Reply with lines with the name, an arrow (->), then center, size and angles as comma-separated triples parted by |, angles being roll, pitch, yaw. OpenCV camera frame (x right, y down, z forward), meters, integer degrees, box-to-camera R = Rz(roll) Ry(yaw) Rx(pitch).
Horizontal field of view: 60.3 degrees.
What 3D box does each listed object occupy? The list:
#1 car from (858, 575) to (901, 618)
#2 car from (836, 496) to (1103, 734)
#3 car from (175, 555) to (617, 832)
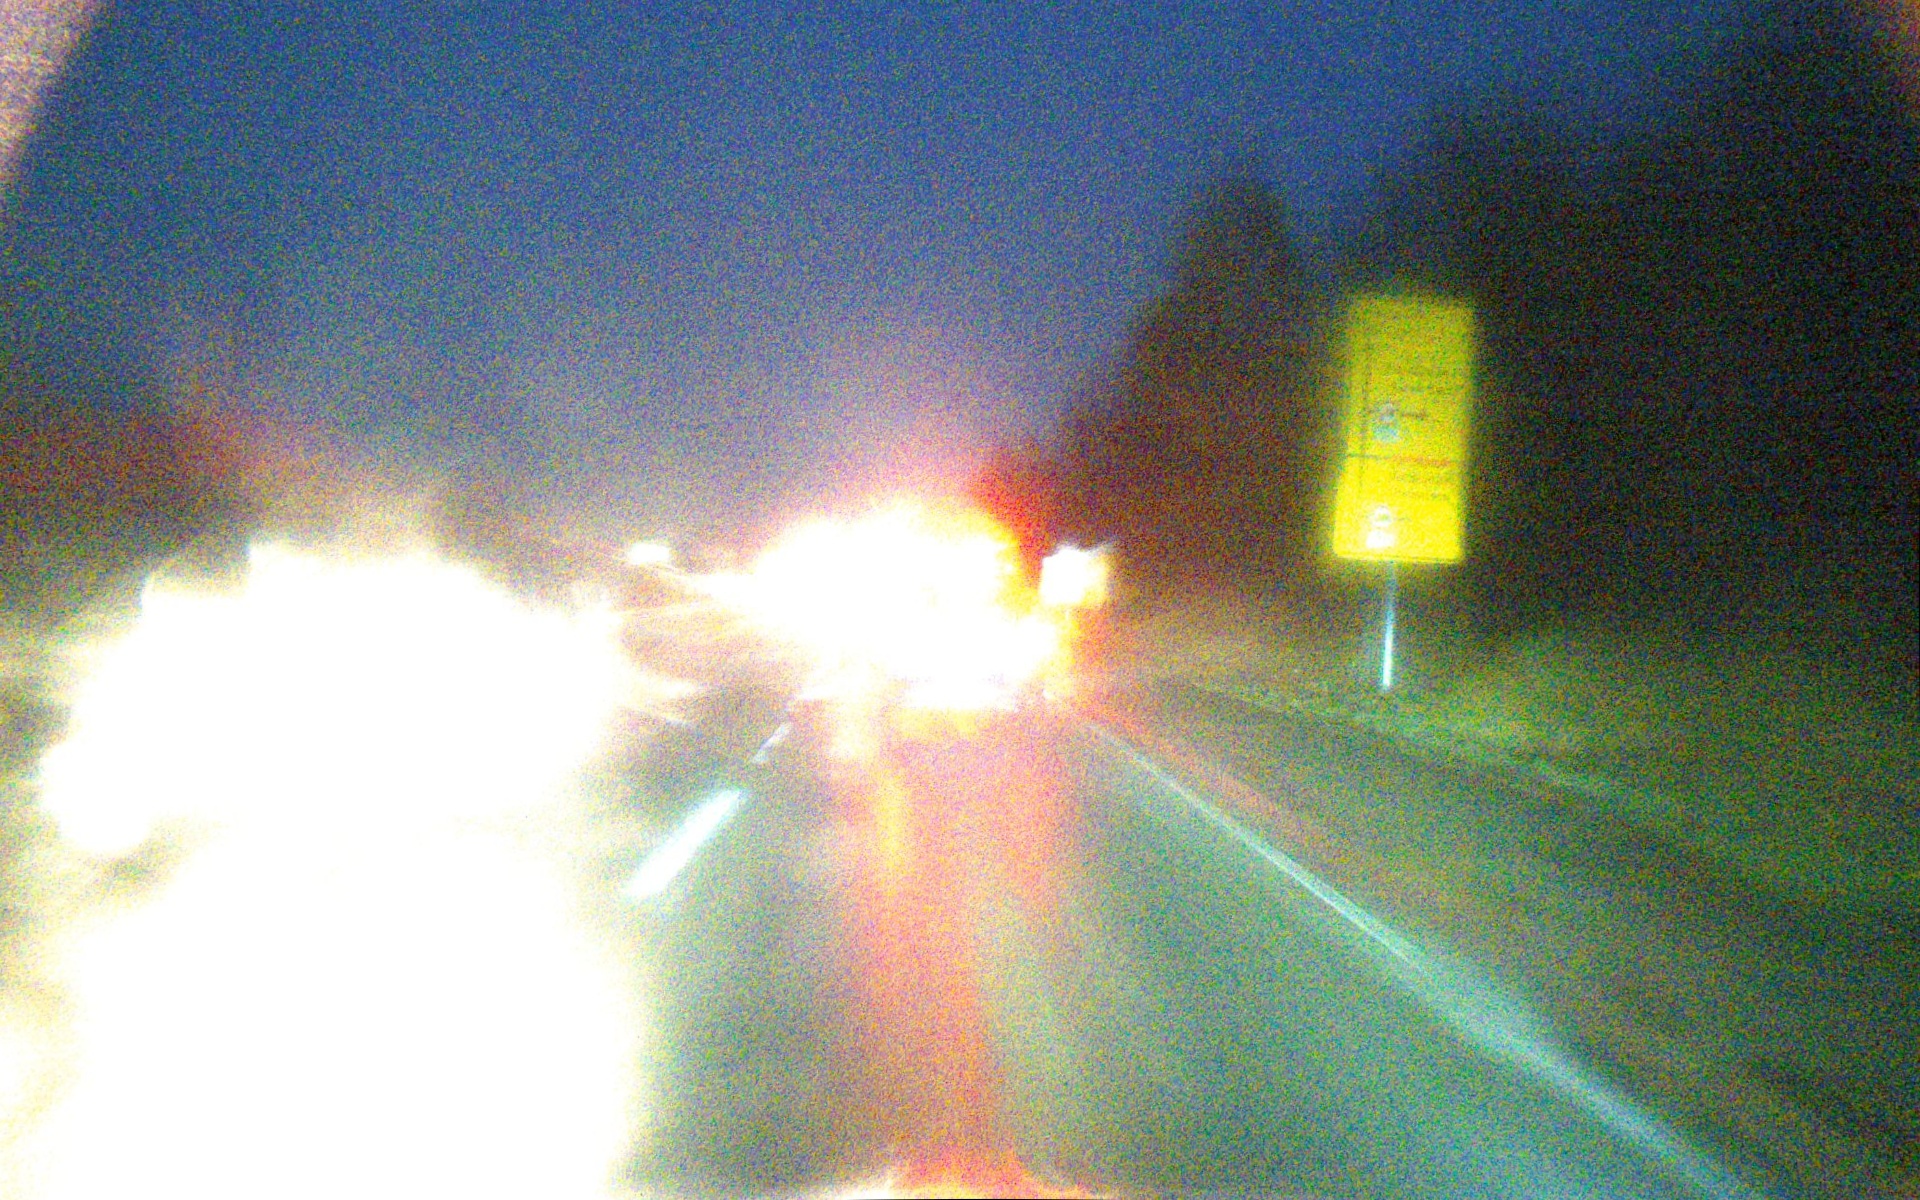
car -> -4.021, -0.183, 83.159 | 1.954, 1.947, 3.998 | 6, 0, -2
car -> 0.005, 0.124, 19.900 | 2.661, 2.348, 6.098 | 2, 0, -2
car -> -3.768, 0.501, 11.886 | 1.825, 1.571, 4.228 | 2, 1, -2
